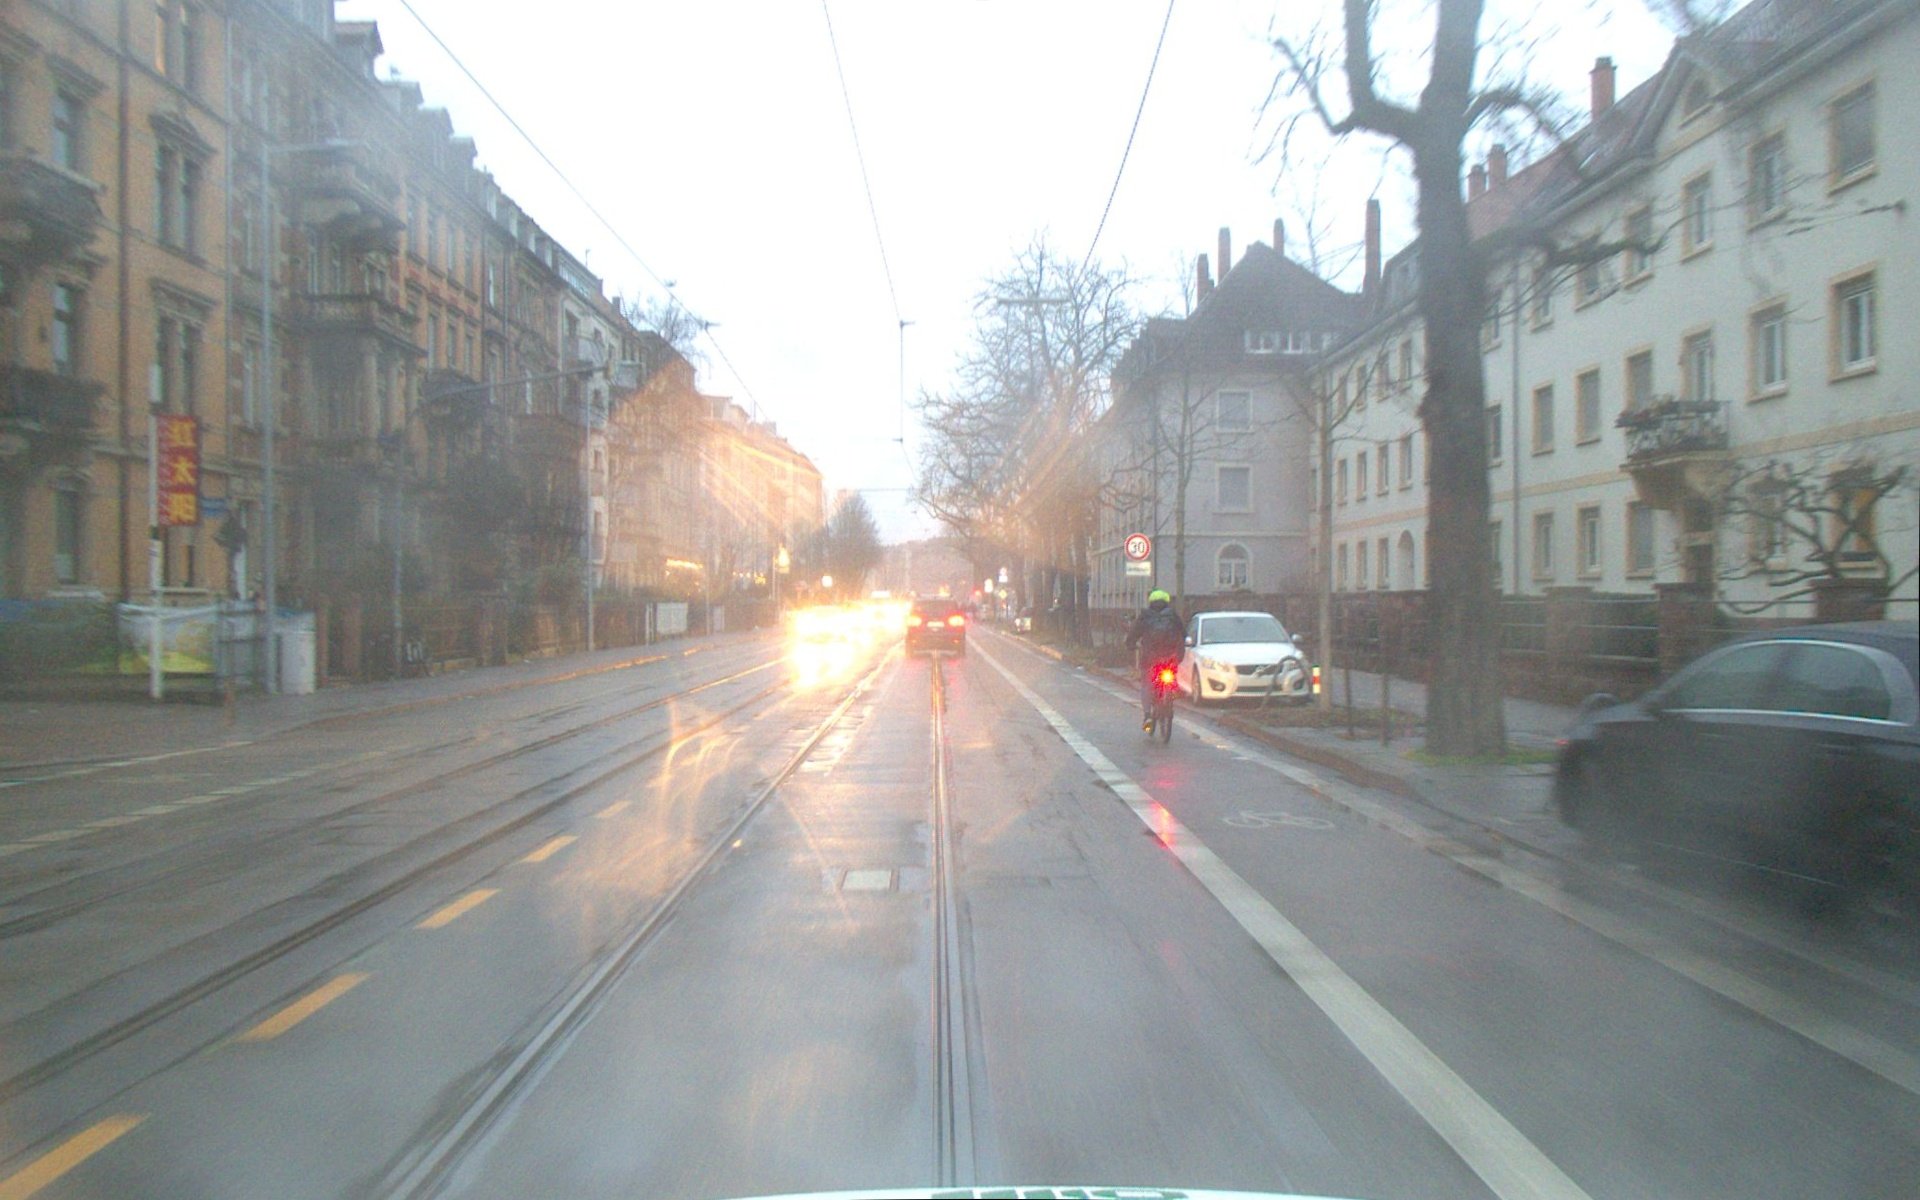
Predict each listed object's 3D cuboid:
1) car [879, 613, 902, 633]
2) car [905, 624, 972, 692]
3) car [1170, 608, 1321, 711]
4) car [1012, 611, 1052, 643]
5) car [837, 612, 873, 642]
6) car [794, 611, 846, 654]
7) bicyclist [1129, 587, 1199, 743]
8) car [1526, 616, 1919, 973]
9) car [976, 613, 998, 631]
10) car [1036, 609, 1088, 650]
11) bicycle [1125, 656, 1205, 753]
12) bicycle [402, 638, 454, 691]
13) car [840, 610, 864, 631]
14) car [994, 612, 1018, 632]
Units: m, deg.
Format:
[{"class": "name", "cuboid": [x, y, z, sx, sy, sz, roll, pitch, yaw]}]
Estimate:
[{"class": "car", "cuboid": [-5.963, 1.972, 141.914, 1.884, 1.691, 3.999, 0, 0, -1]}, {"class": "car", "cuboid": [-0.615, 1.730, 50.535, 1.764, 1.903, 4.019, 3, 0, 2]}, {"class": "car", "cuboid": [4.517, 0.902, 26.734, 1.749, 1.536, 4.108, 0, 0, 0]}, {"class": "car", "cuboid": [3.554, 1.344, 82.555, 1.749, 1.536, 4.107, 0, 0, -1]}, {"class": "car", "cuboid": [-6.011, 1.548, 95.295, 1.884, 1.691, 3.999, 0, 0, -1]}, {"class": "car", "cuboid": [-5.747, 1.319, 68.356, 1.884, 1.691, 3.999, 0, 0, -1]}, {"class": "bicyclist", "cuboid": [2.346, 0.736, 19.094, 0.715, 1.767, 0.765, 0, -1, 0]}, {"class": "car", "cuboid": [4.750, 0.823, 8.568, 1.842, 1.445, 4.339, -1, 0, -5]}, {"class": "car", "cuboid": [2.303, 1.849, 141.400, 1.749, 1.536, 4.107, 0, 0, -1]}, {"class": "car", "cuboid": [3.941, 1.122, 64.538, 1.749, 1.536, 4.107, 0, 0, -1]}, {"class": "bicycle", "cuboid": [2.347, 1.180, 19.102, 0.716, 1.024, 1.764, 0, -1, 0]}, {"class": "bicycle", "cuboid": [-10.880, 1.307, 33.868, 0.485, 1.024, 1.764, 0, -1, 0]}, {"class": "car", "cuboid": [-9.438, 1.782, 144.535, 1.884, 1.750, 3.999, 0, 0, -1]}, {"class": "car", "cuboid": [3.556, 1.706, 128.236, 1.749, 1.536, 4.107, 0, 0, -1]}]
